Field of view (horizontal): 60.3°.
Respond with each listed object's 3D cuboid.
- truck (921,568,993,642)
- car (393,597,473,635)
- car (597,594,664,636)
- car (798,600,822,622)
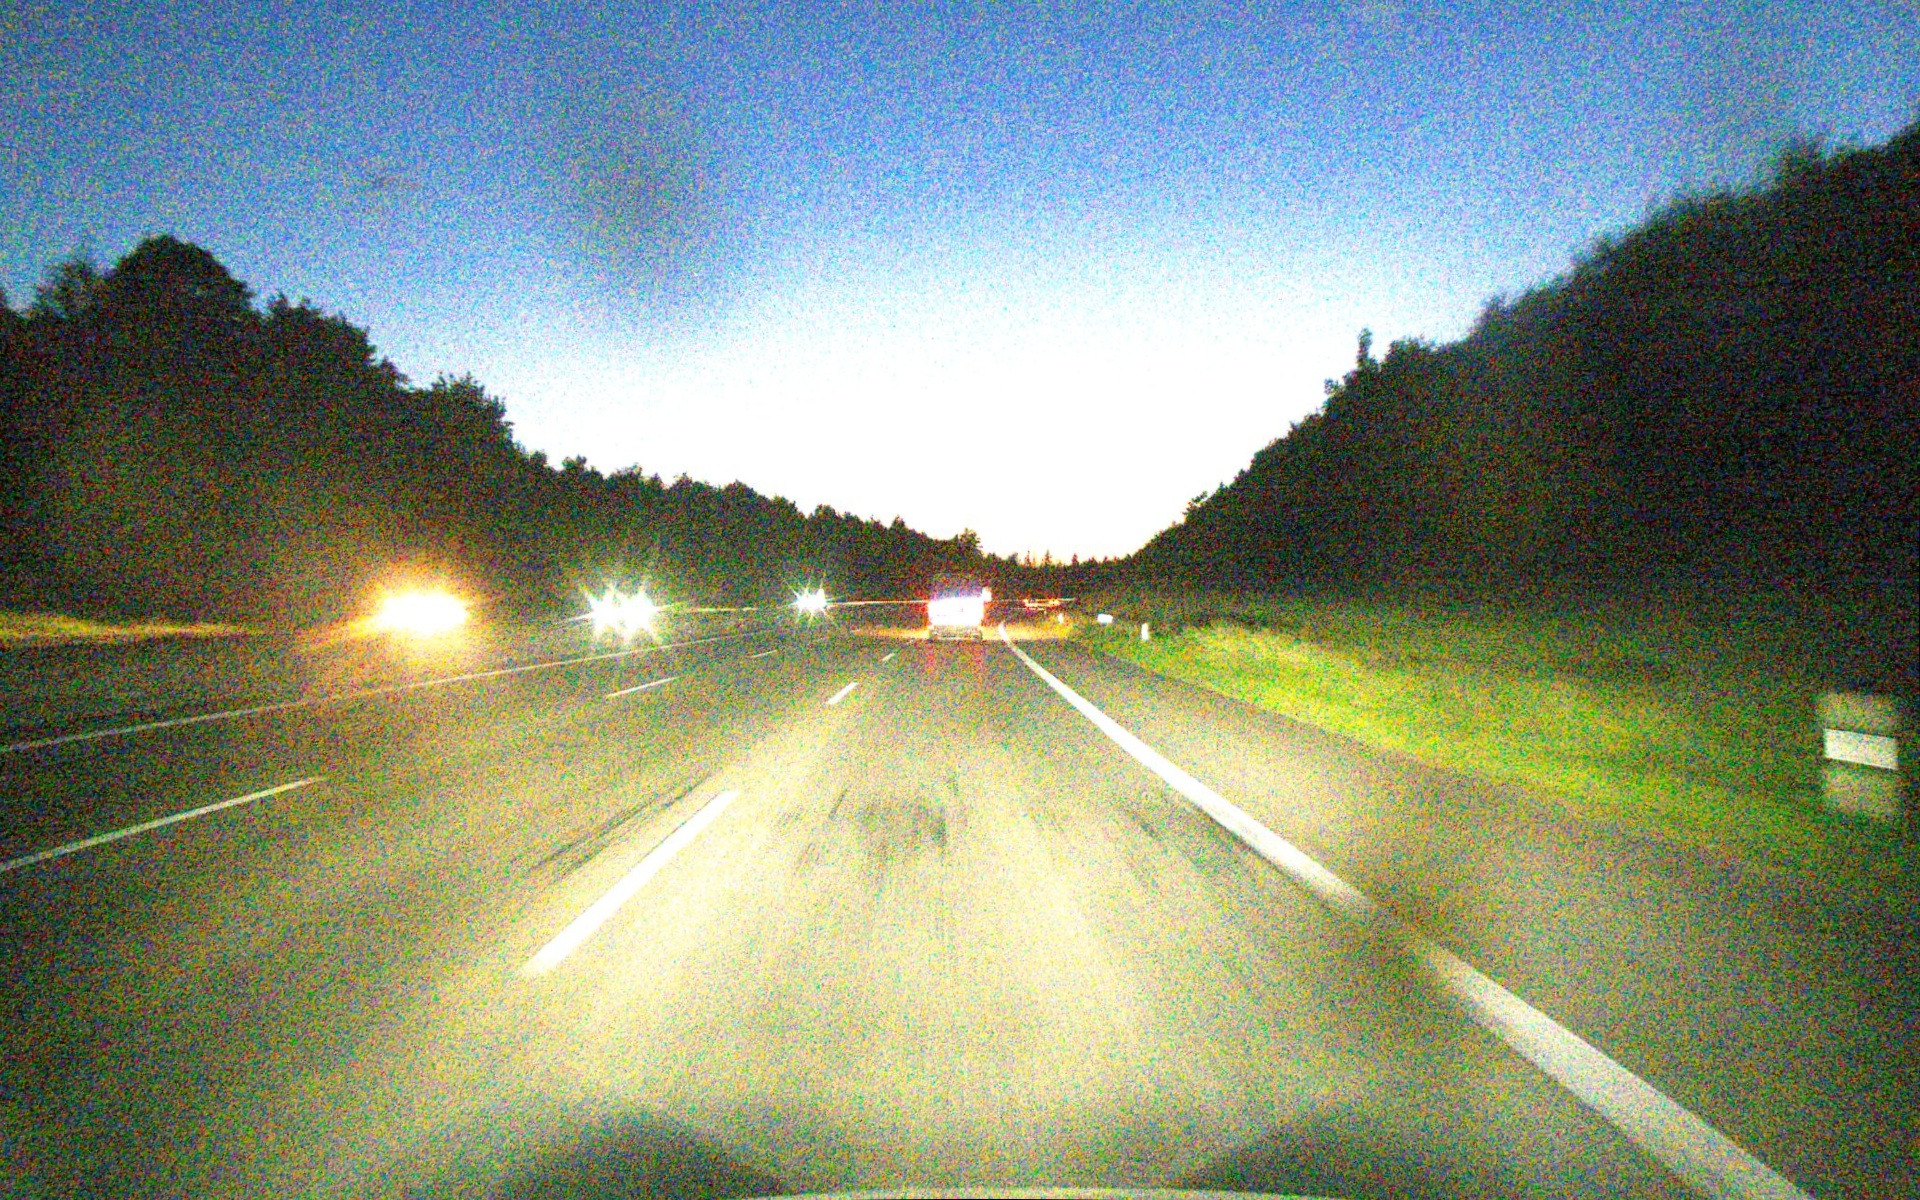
[{"bbox_3d":[-0.158,0.210,64.018,2.576,2.670,8.683,1,0,-1],"label":"truck"},{"bbox_3d":[-22.372,0.671,70.401,1.952,1.534,4.401,1,0,1],"label":"car"},{"bbox_3d":[-14.810,0.680,74.535,1.952,1.822,4.680,1,0,1],"label":"car"},{"bbox_3d":[-17.995,1.356,198.372,2.039,2.531,6.244,1,0,2],"label":"car"}]
